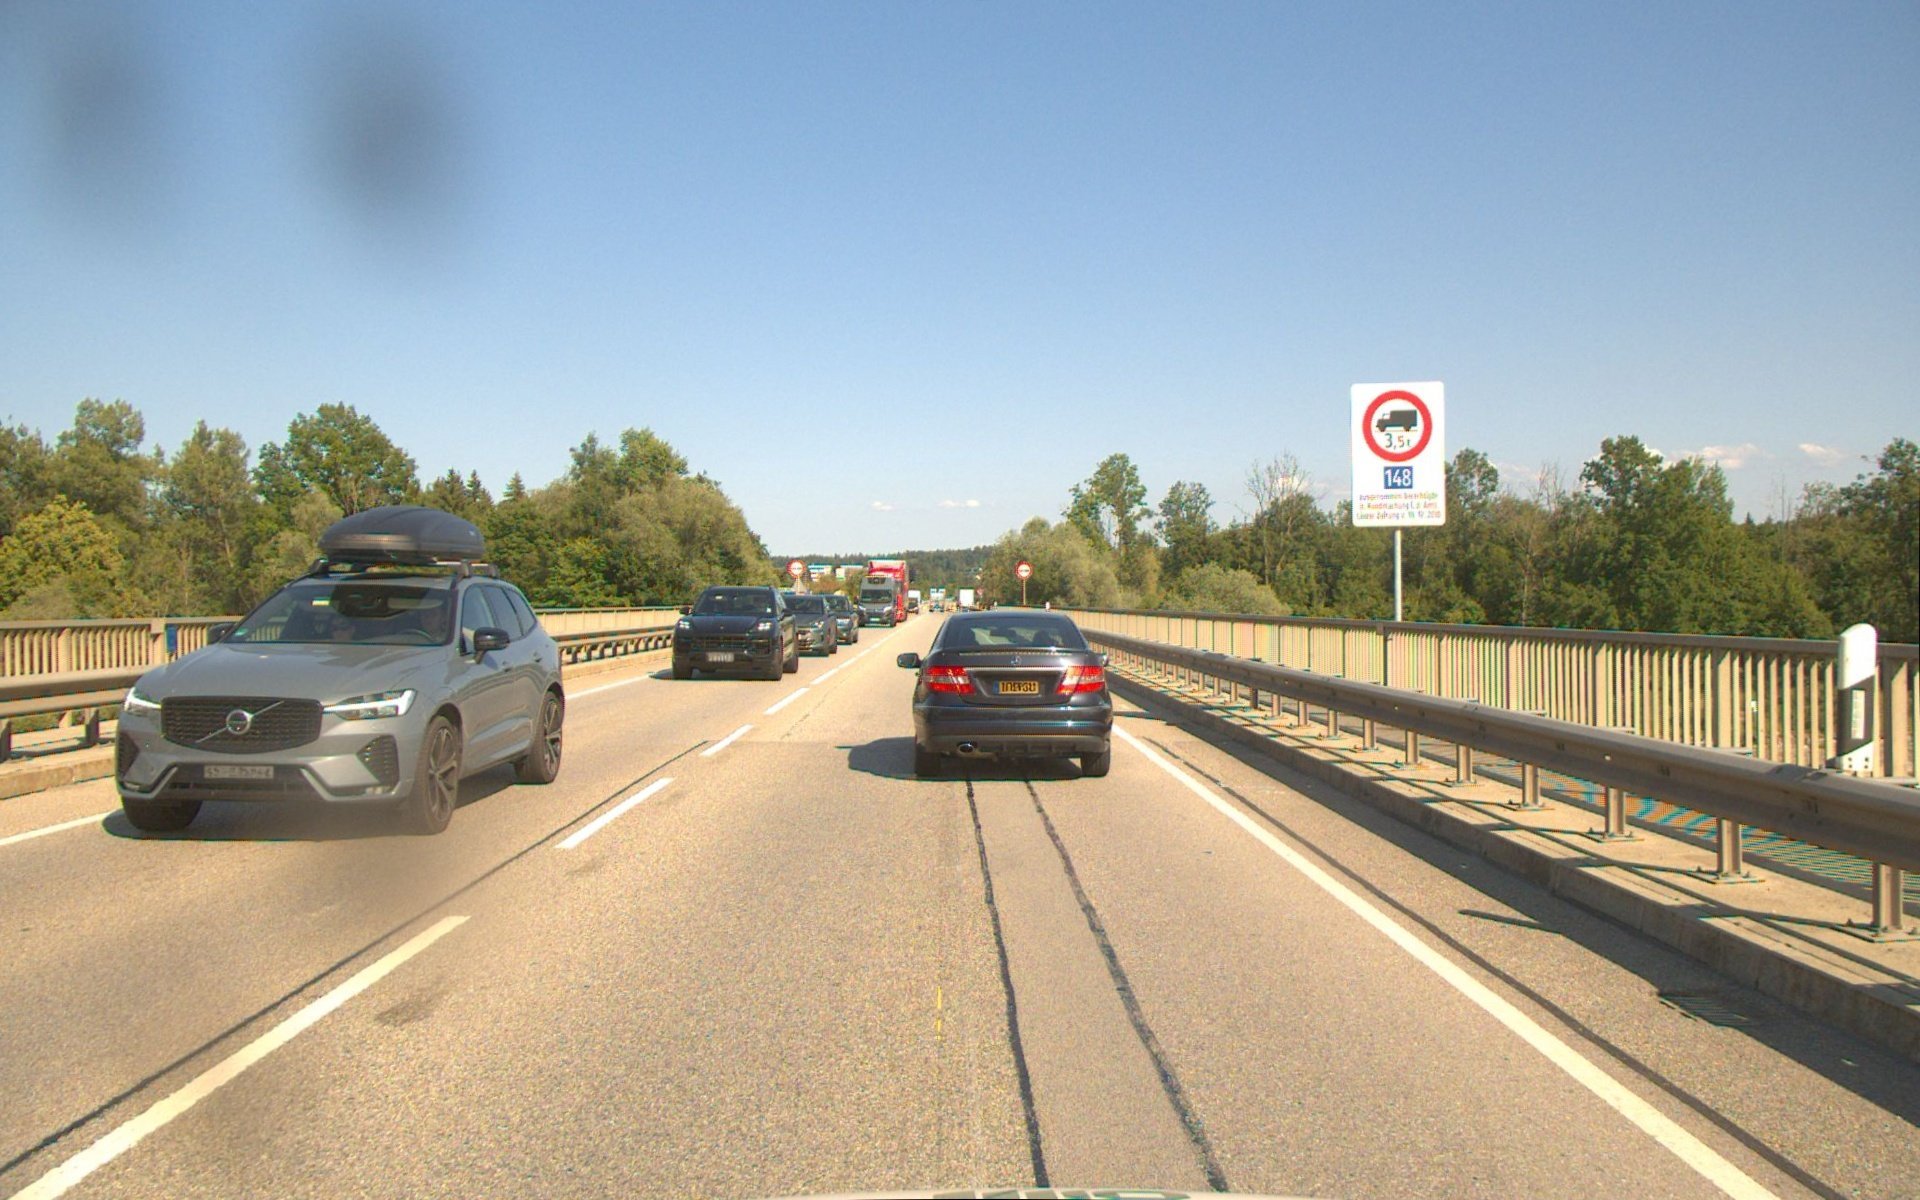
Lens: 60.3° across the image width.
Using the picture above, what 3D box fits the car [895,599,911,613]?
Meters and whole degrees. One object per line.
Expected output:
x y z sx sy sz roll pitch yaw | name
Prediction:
-6.865 0.732 197.974 1.804 1.671 4.574 0 0 -3 | car

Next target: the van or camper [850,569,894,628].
-4.802 -0.075 91.139 2.268 3.104 6.814 0 0 -2 | van or camper

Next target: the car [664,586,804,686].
-4.181 0.665 31.329 2.012 1.682 4.720 2 -1 -1 | car

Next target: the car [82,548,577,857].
-4.112 0.590 11.697 1.817 1.752 4.565 0 0 -1 | car

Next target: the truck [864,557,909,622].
-5.059 -0.674 112.887 2.850 4.258 5.708 1 0 -4 | truck

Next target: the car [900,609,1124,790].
0.427 0.800 15.116 1.756 1.400 4.000 1 0 0 | car

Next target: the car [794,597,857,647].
-4.486 0.716 55.647 1.836 1.611 4.273 1 0 -1 | car

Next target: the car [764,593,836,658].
-4.219 0.648 44.162 1.771 1.605 4.197 1 0 -4 | car
